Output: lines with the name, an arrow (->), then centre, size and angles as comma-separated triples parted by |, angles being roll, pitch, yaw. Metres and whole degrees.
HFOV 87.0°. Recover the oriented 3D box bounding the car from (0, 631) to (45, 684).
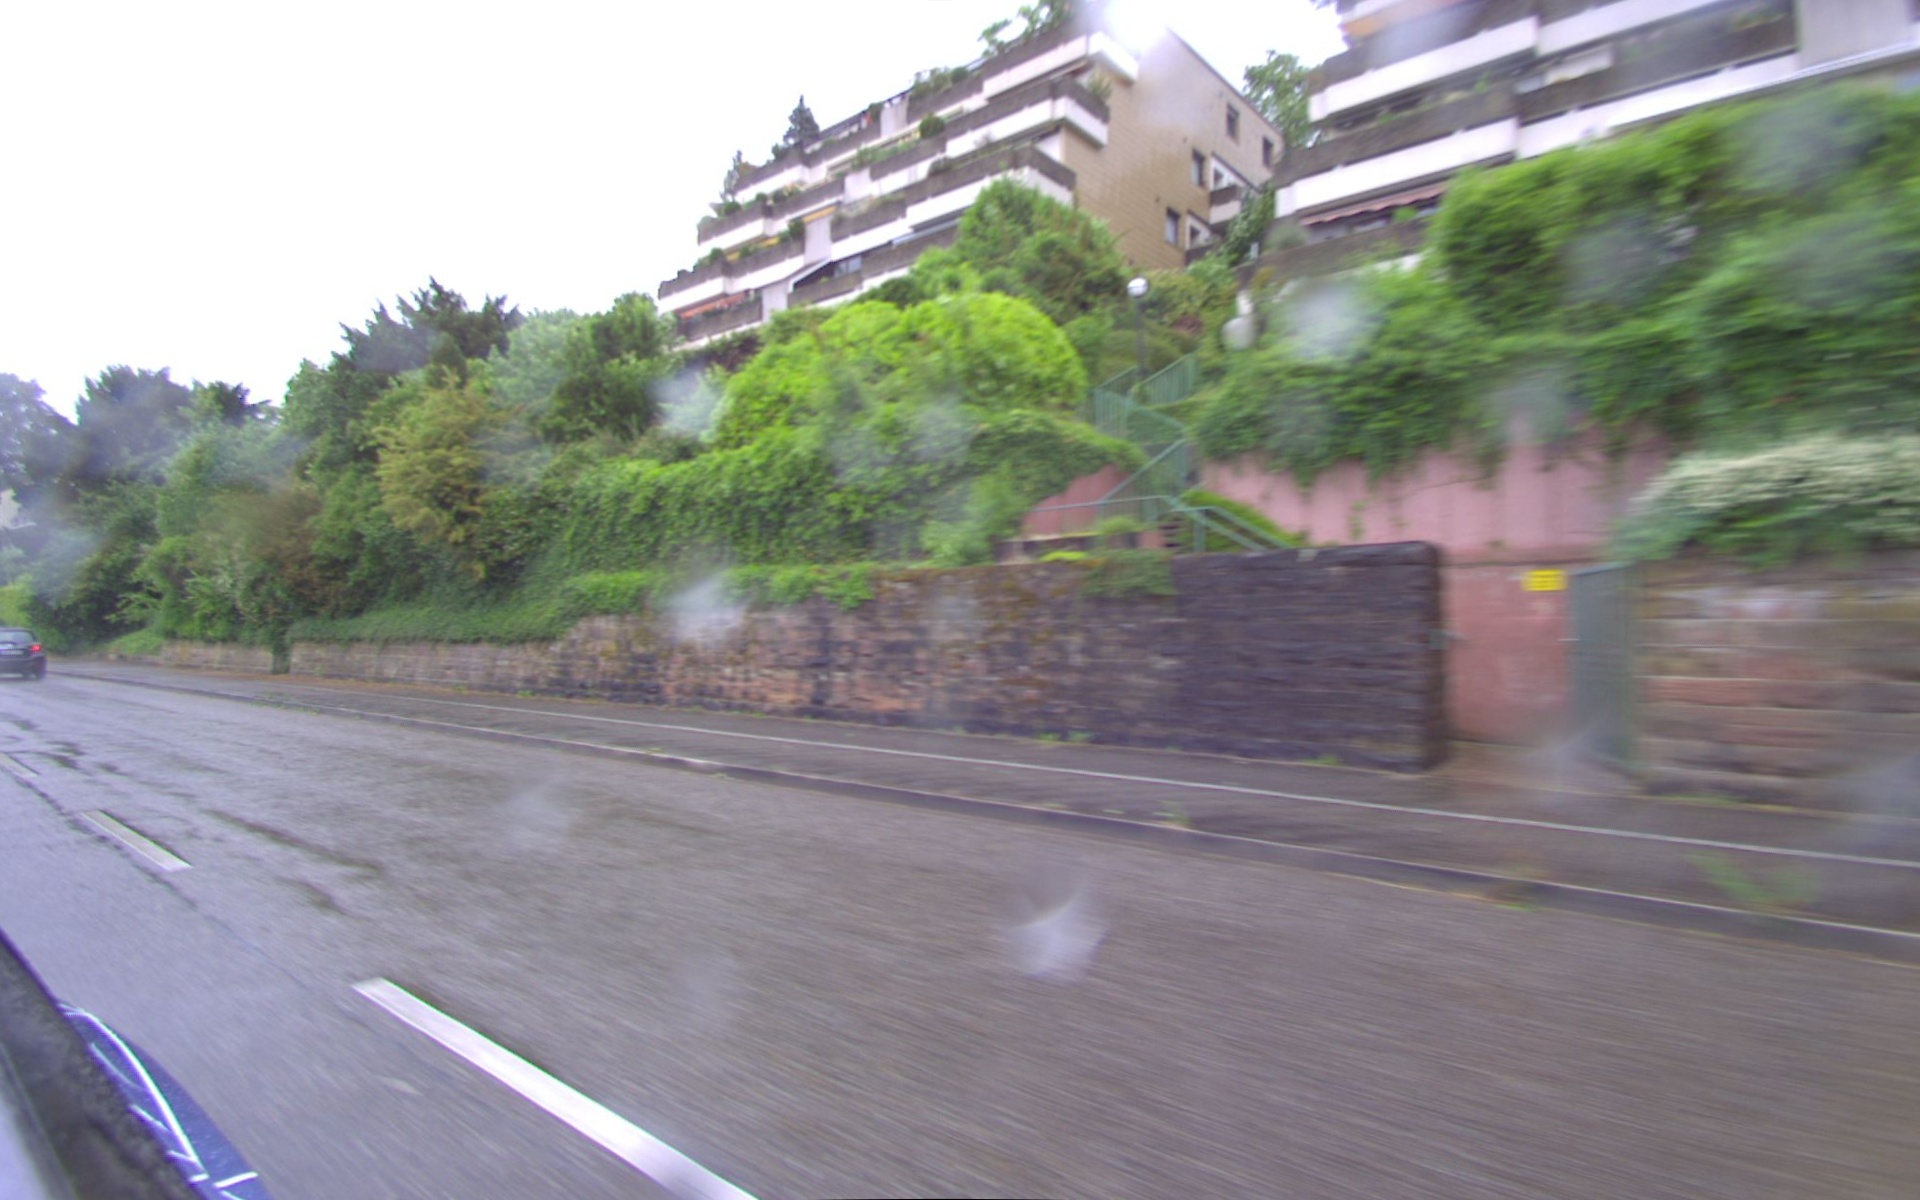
car -> -27.970, 1.633, 29.354 | 3.701, 1.453, 1.576 | -1, -4, 40
